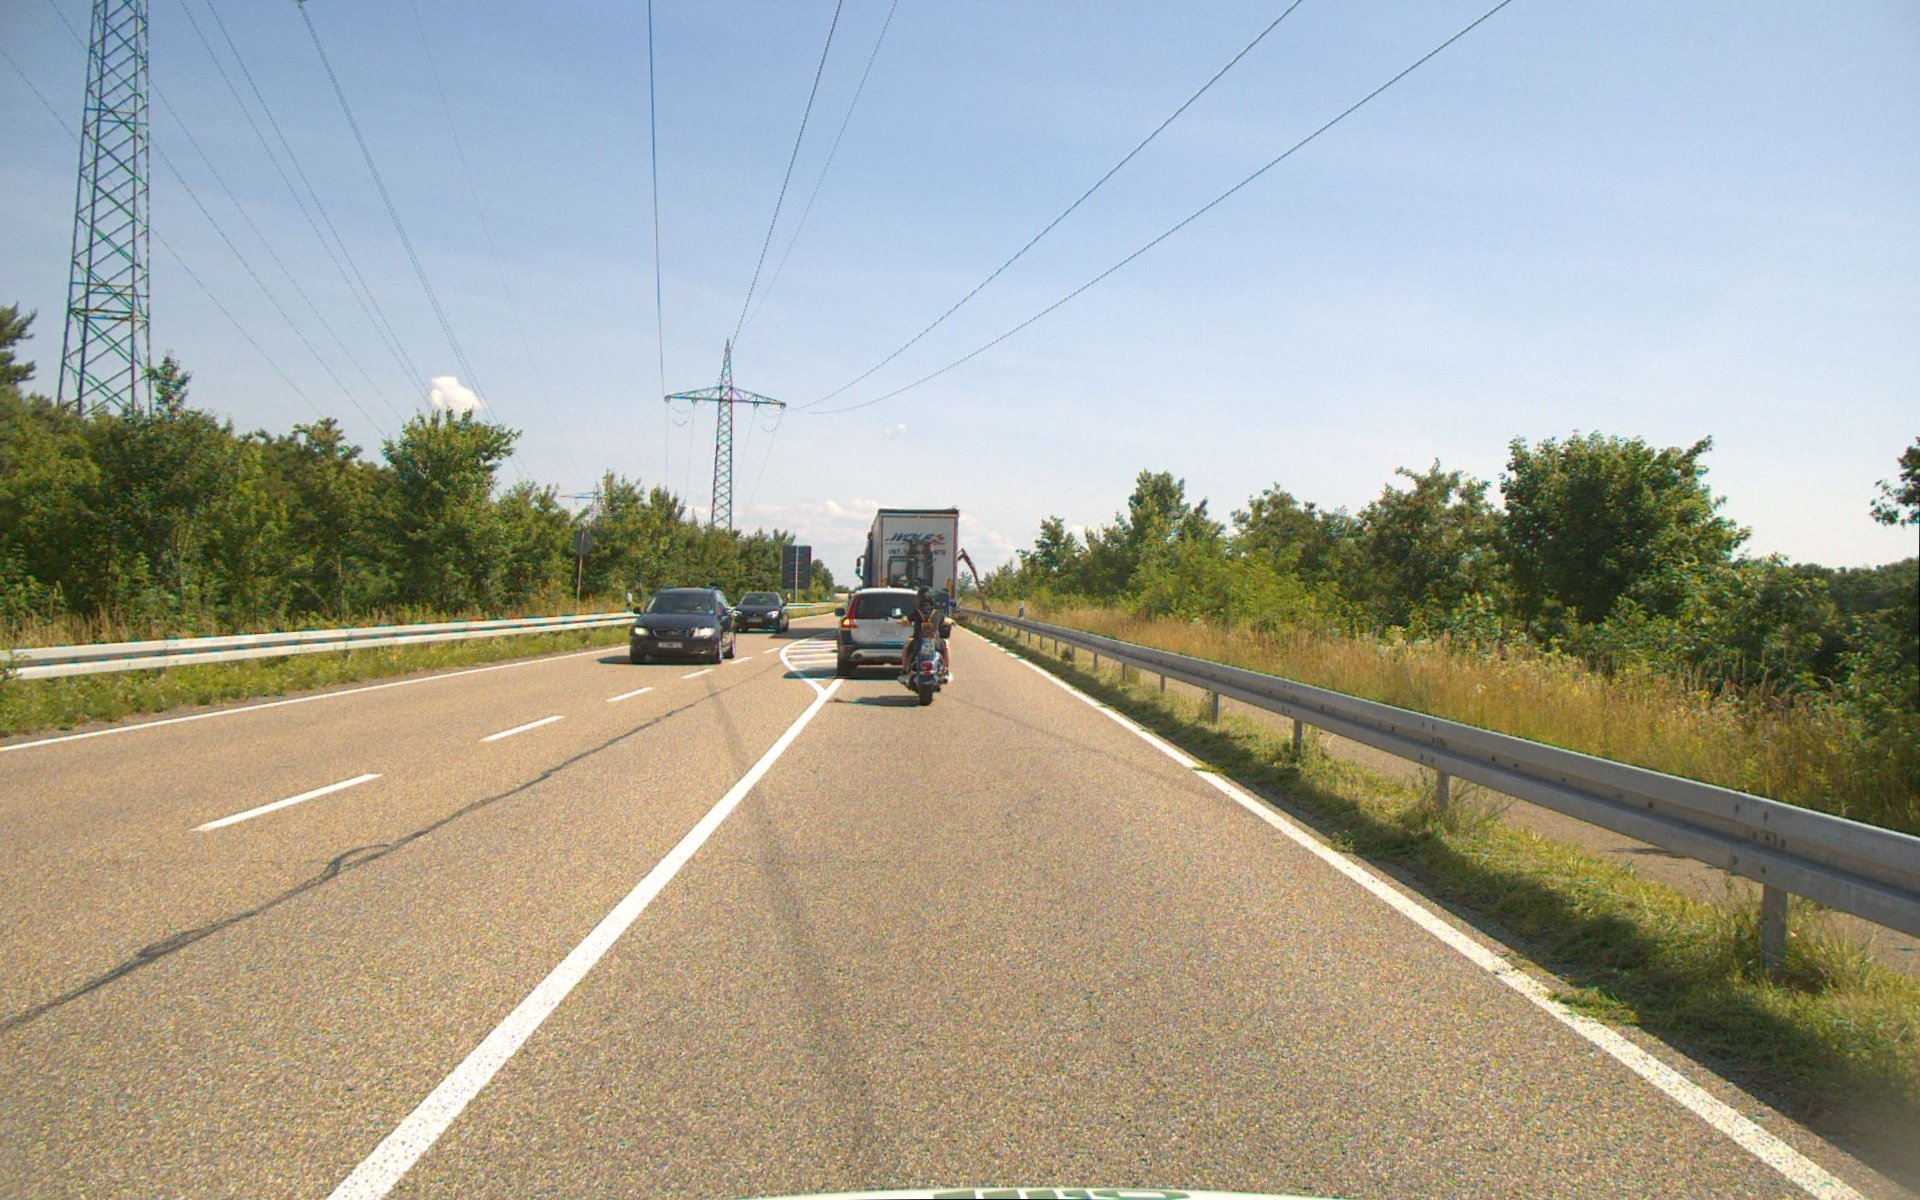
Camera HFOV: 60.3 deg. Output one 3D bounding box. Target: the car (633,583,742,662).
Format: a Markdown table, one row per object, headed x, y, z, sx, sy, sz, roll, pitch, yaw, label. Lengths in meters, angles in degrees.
| x | y | z | sx | sy | sz | roll | pitch | yaw | label |
| --- | --- | --- | --- | --- | --- | --- | --- | --- | --- |
| -5.636 | 0.421 | 34.658 | 1.692 | 1.517 | 4.421 | 1 | 0 | -2 | car |

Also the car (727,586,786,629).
| x | y | z | sx | sy | sz | roll | pitch | yaw | label |
| --- | --- | --- | --- | --- | --- | --- | --- | --- | --- |
| -7.265 | 0.247 | 59.303 | 1.626 | 1.467 | 4.213 | 1 | 0 | -1 | car |

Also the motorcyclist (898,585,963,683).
| x | y | z | sx | sy | sz | roll | pitch | yaw | label |
| --- | --- | --- | --- | --- | --- | --- | --- | --- | --- |
| -0.408 | 0.450 | 22.600 | 0.820 | 1.303 | 0.918 | 1 | 0 | -4 | motorcyclist |

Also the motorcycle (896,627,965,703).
| x | y | z | sx | sy | sz | roll | pitch | yaw | label |
| --- | --- | --- | --- | --- | --- | --- | --- | --- | --- |
| -0.422 | 0.866 | 22.623 | 0.842 | 0.931 | 2.226 | 0 | 0 | -4 | motorcycle |

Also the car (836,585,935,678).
| x | y | z | sx | sy | sz | roll | pitch | yaw | label |
| --- | --- | --- | --- | --- | --- | --- | --- | --- | --- |
| -1.325 | 0.529 | 30.036 | 1.666 | 1.563 | 3.498 | 1 | 0 | -2 | car |

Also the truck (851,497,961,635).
| x | y | z | sx | sy | sz | roll | pitch | yaw | label |
| --- | --- | --- | --- | --- | --- | --- | --- | --- | --- |
| -2.157 | -1.112 | 59.075 | 2.910 | 4.260 | 14.804 | 1 | 0 | -6 | truck |

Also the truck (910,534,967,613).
| x | y | z | sx | sy | sz | roll | pitch | yaw | label |
| --- | --- | --- | --- | --- | --- | --- | --- | --- | --- |
| -1.145 | -1.285 | 82.561 | 2.561 | 3.776 | 6.774 | 1 | 0 | -3 | truck |
